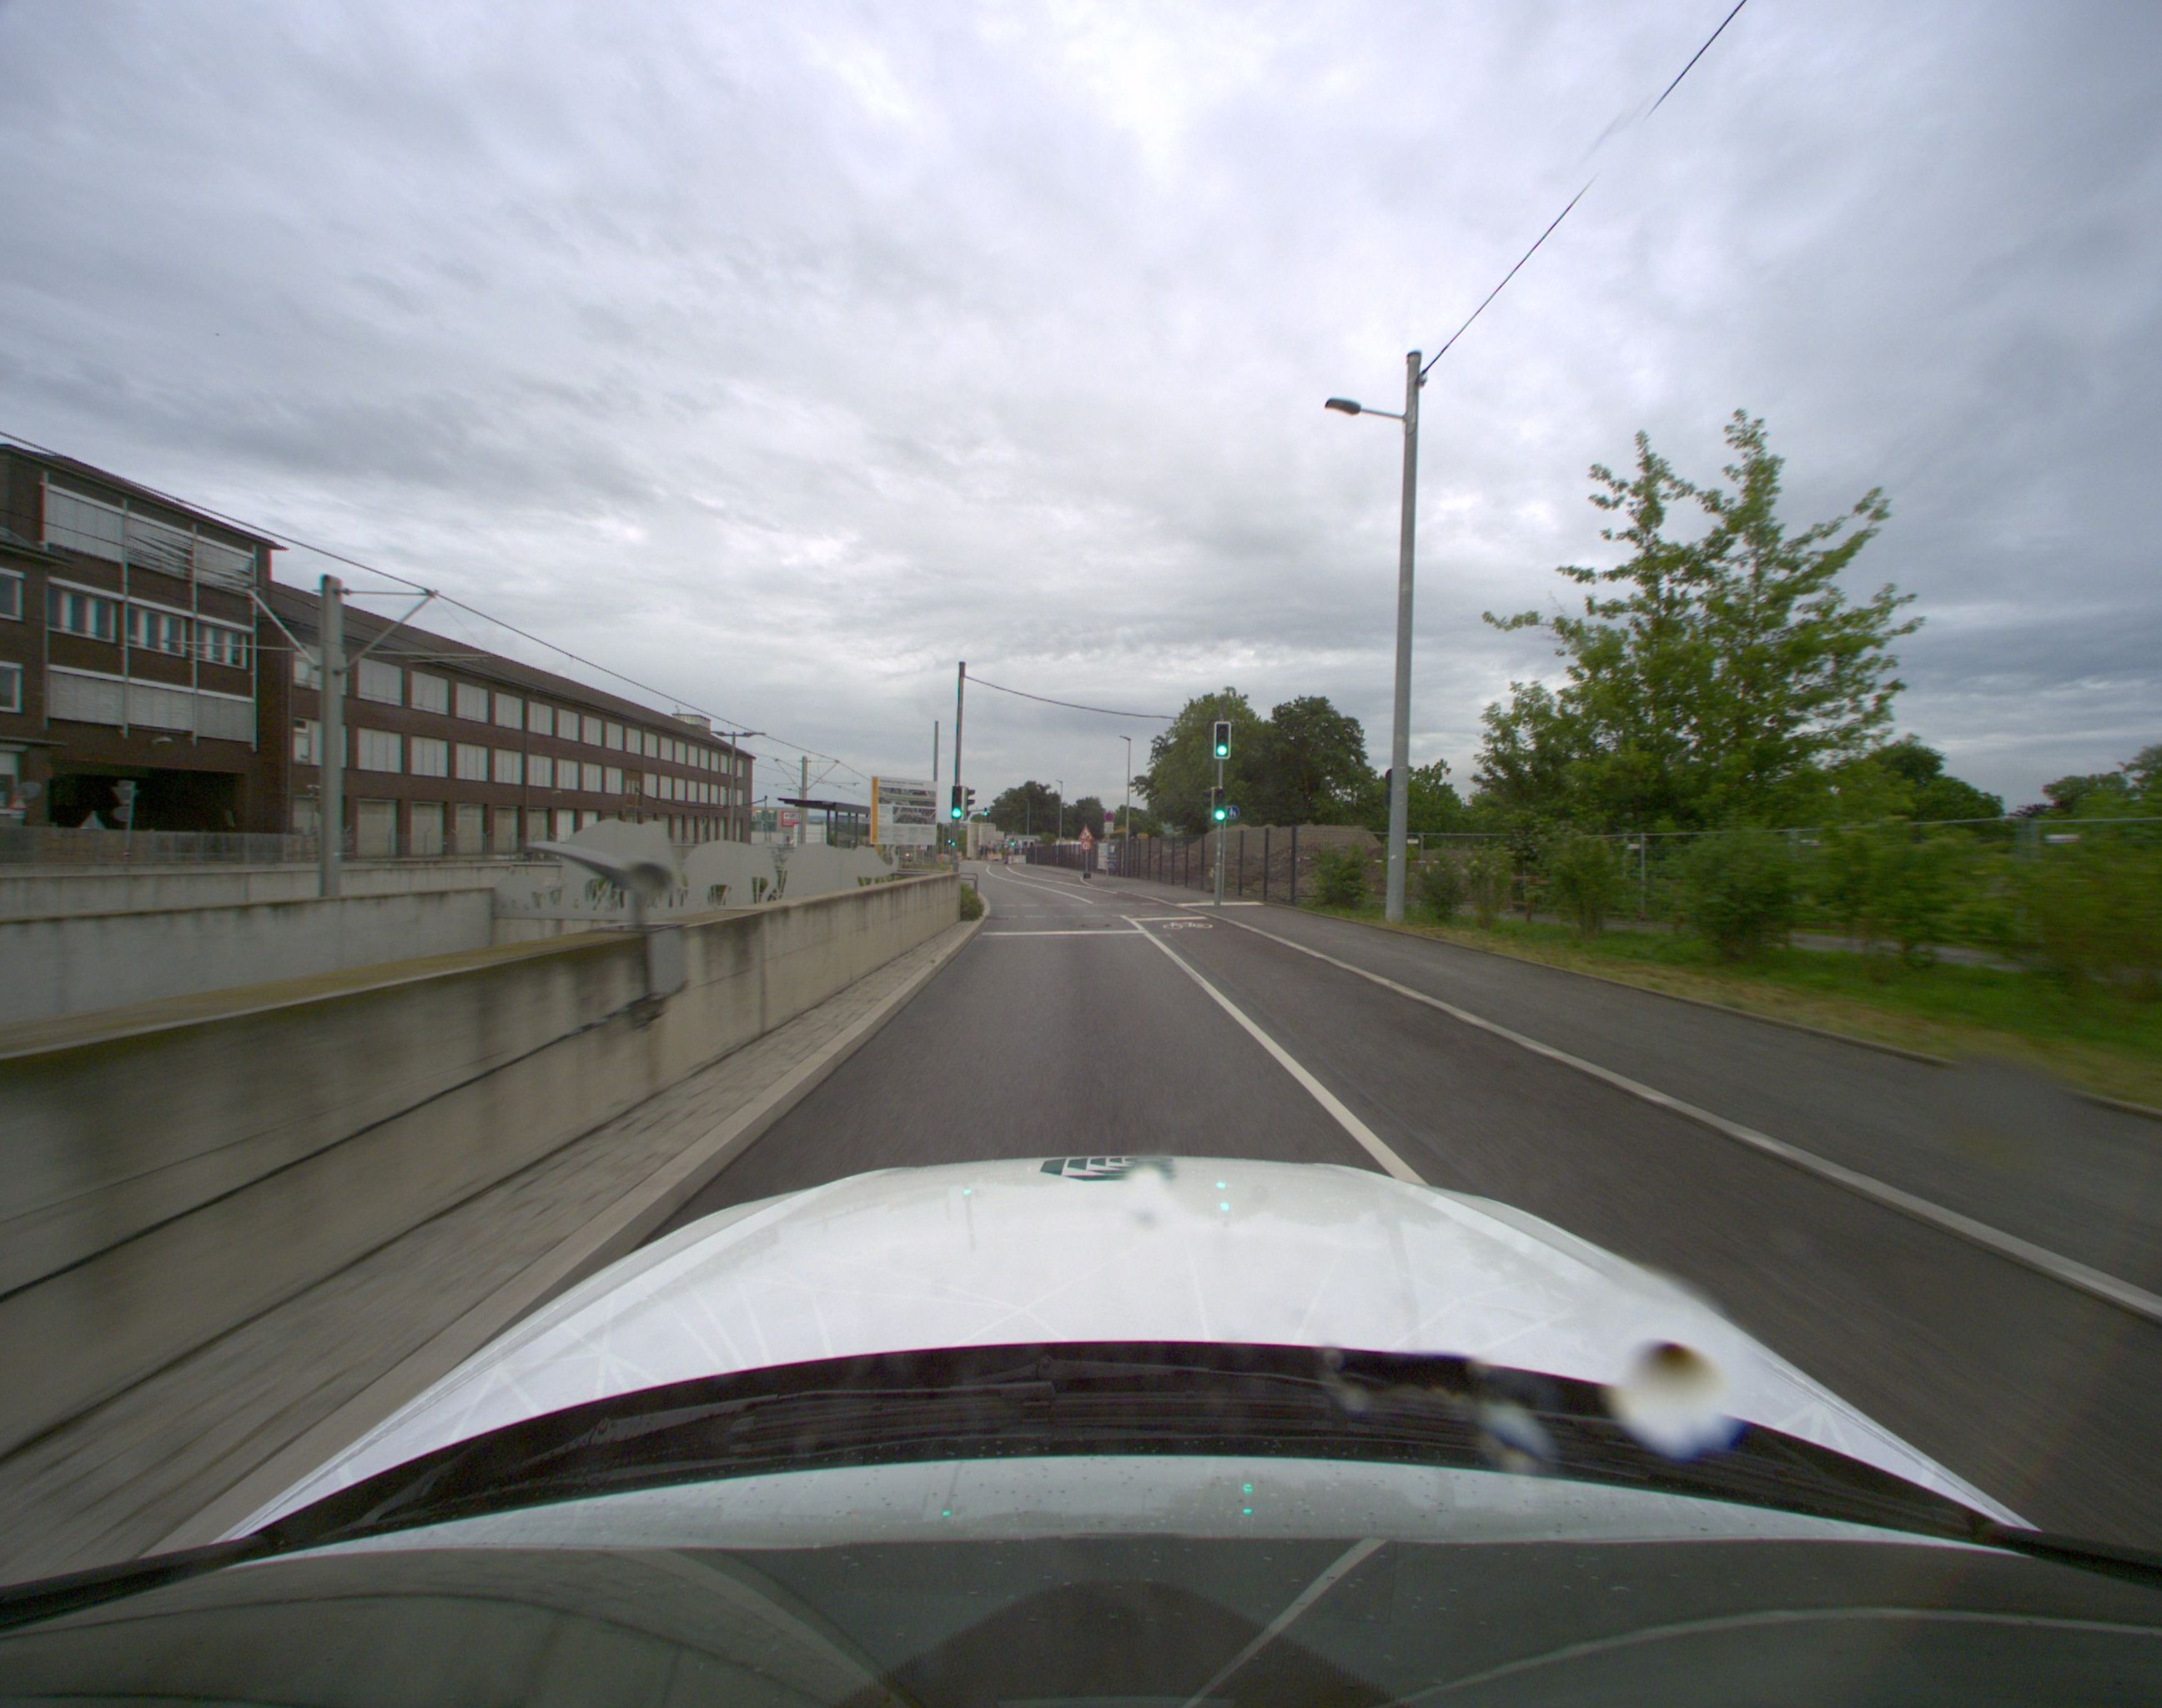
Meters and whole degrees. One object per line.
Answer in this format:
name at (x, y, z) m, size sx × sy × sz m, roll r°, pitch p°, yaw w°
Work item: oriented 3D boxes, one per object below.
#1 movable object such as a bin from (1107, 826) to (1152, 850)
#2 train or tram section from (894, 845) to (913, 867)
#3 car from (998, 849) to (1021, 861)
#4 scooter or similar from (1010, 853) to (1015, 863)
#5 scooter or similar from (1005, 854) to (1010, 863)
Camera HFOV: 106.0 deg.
movable object such as a bin at (12.160, -4.026, 205.496) m, size 11.204 × 5.995 × 3.488 m, roll 0°, pitch -1°, yaw -3°
train or tram section at (-33.787, 0.369, 155.585) m, size 2.956 × 3.886 × 19.496 m, roll 1°, pitch 0°, yaw -11°
car at (-10.864, 0.187, 124.138) m, size 1.804 × 1.794 × 4.431 m, roll 0°, pitch 0°, yaw 21°
scooter or similar at (-9.955, 0.574, 118.014) m, size 0.613 × 1.351 × 1.909 m, roll 0°, pitch 0°, yaw -4°
scooter or similar at (-10.656, 0.649, 117.898) m, size 0.613 × 1.351 × 1.909 m, roll 0°, pitch 0°, yaw -4°
